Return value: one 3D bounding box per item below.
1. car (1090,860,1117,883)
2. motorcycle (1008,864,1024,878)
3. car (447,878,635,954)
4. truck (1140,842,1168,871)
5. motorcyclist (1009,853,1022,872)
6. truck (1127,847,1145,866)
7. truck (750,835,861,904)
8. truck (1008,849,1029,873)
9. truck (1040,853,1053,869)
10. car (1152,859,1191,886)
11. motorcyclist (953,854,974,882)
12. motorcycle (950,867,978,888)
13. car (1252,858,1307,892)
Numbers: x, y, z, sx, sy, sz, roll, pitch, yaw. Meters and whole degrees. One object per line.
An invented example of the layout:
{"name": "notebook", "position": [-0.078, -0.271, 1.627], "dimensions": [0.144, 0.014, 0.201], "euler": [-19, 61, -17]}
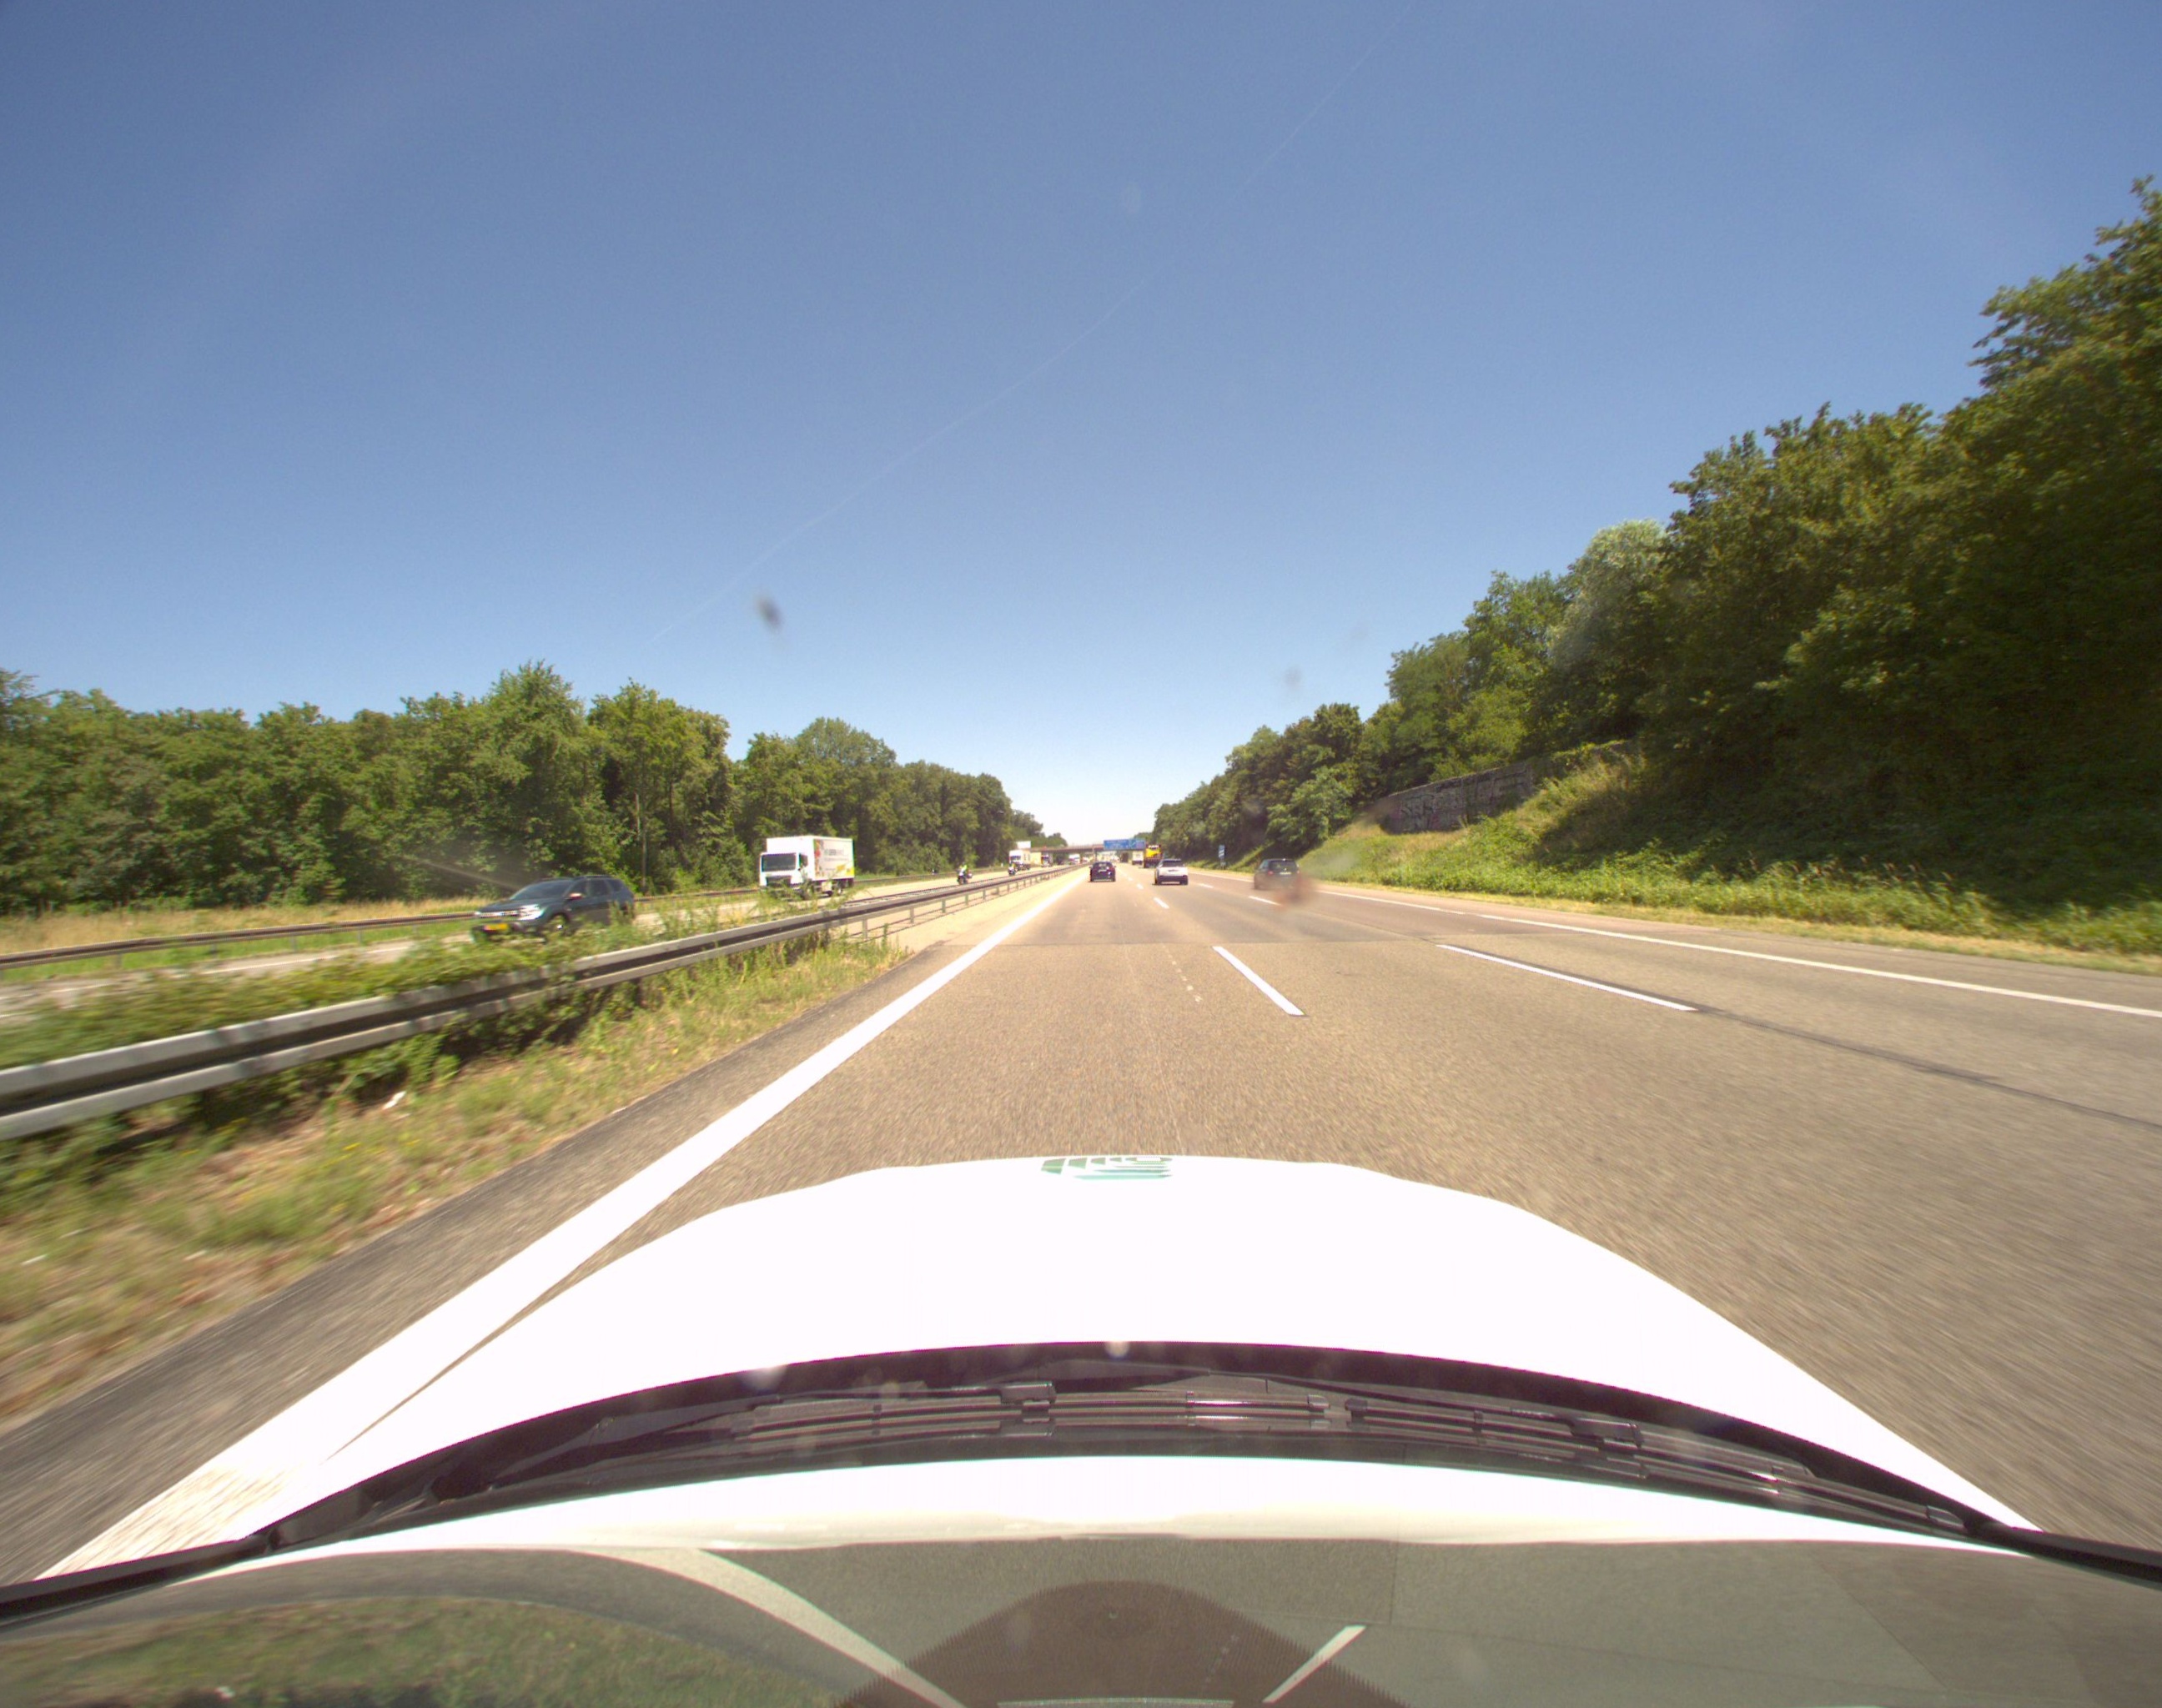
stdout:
{"name": "car", "position": [1.572, 1.184, 57.305], "dimensions": [1.793, 1.502, 4.242], "euler": [-1, 0, 1]}
{"name": "motorcycle", "position": [-6.482, 1.694, 81.081], "dimensions": [1.149, 1.250, 3.811], "euler": [-2, -1, 2]}
{"name": "car", "position": [-13.142, 1.441, 20.201], "dimensions": [1.793, 1.532, 4.241], "euler": [-1, 0, 0]}
{"name": "truck", "position": [12.308, 0.477, 139.655], "dimensions": [3.634, 4.590, 15.767], "euler": [0, 0, 1]}
{"name": "motorcyclist", "position": [-6.517, 0.838, 81.008], "dimensions": [1.148, 1.815, 1.027], "euler": [-2, -1, 1]}
{"name": "truck", "position": [14.061, 0.619, 208.604], "dimensions": [3.634, 4.590, 17.248], "euler": [0, 0, 1]}
{"name": "truck", "position": [-16.268, 0.843, 49.218], "dimensions": [2.786, 3.632, 10.698], "euler": [-2, 0, 1]}
{"name": "truck", "position": [-12.528, 1.305, 164.352], "dimensions": [2.946, 4.515, 12.640], "euler": [-2, 0, 1]}
{"name": "truck", "position": [-10.379, 1.923, 242.826], "dimensions": [2.946, 4.515, 12.640], "euler": [-2, 0, 1]}
{"name": "car", "position": [5.333, 1.063, 48.631], "dimensions": [1.893, 1.532, 4.242], "euler": [-1, 0, 1]}
{"name": "motorcyclist", "position": [-7.759, 0.909, 53.874], "dimensions": [1.148, 1.815, 1.027], "euler": [-2, -1, 1]}
{"name": "motorcycle", "position": [-7.730, 1.538, 54.112], "dimensions": [1.149, 1.250, 3.811], "euler": [-2, -1, 2]}
{"name": "car", "position": [9.271, 0.955, 38.385], "dimensions": [1.782, 1.461, 3.952], "euler": [-1, 0, 3]}
